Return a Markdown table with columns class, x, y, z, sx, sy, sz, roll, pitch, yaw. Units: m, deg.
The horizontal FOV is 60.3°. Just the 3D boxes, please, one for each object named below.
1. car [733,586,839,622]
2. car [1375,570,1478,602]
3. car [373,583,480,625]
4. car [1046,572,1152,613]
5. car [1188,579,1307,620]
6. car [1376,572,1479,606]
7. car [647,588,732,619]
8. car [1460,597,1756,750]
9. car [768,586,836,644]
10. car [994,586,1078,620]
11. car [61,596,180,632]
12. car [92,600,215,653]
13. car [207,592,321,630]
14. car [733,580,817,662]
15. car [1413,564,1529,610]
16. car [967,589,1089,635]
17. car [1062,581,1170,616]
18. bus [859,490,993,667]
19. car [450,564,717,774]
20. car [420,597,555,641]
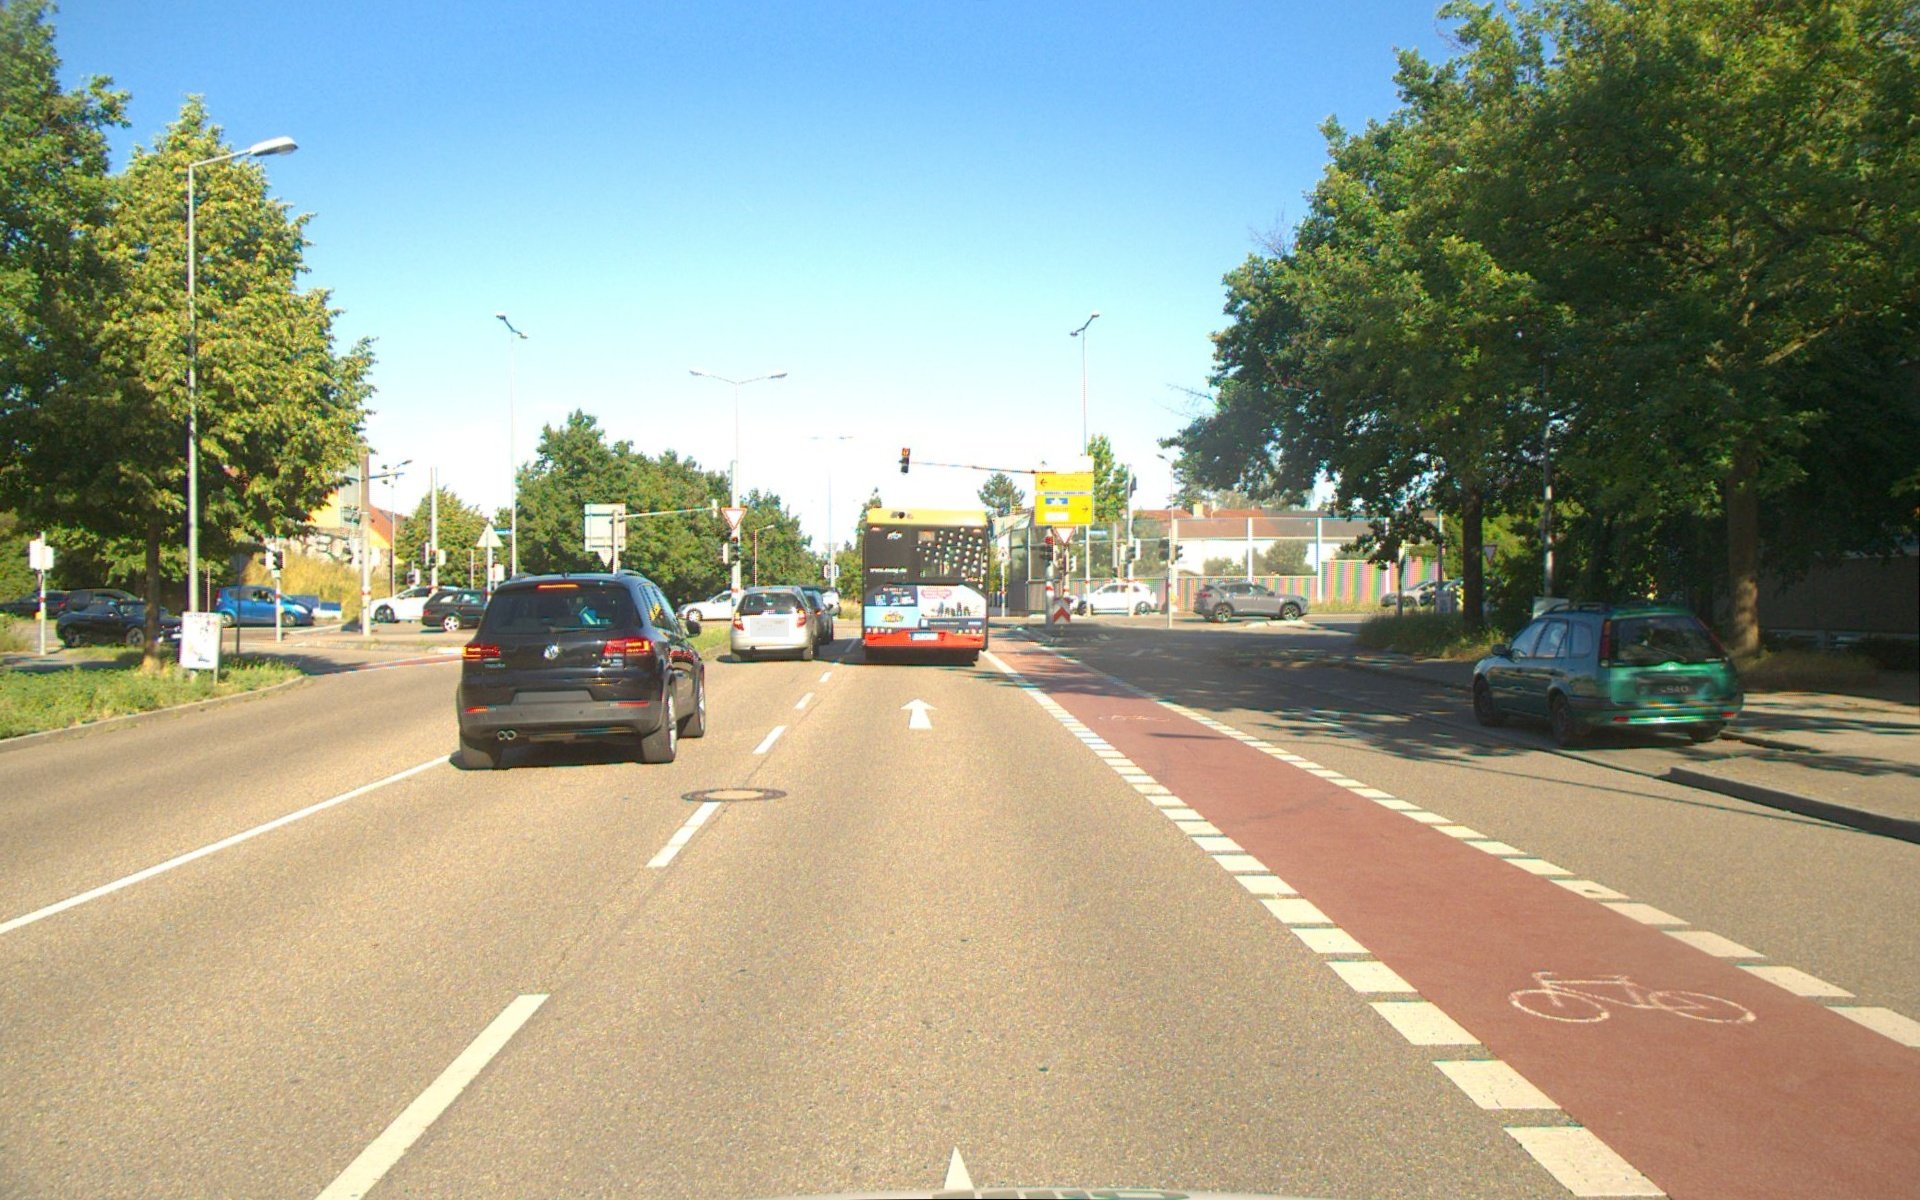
| class | x | y | z | sx | sy | sz | roll | pitch | yaw |
| --- | --- | --- | --- | --- | --- | --- | --- | --- | --- |
| car | -7.747 | 0.153 | 73.428 | 4.613 | 1.567 | 1.997 | 0 | 0 | -8 |
| car | 20.661 | -0.602 | 73.299 | 4.078 | 1.325 | 1.573 | 1 | -1 | -5 |
| car | -22.858 | 0.172 | 71.001 | 4.314 | 1.713 | 1.703 | 1 | -1 | -18 |
| car | 5.754 | -0.291 | 68.630 | 4.140 | 1.590 | 1.761 | 1 | -1 | -6 |
| car | 10.977 | -0.011 | 63.268 | 4.140 | 1.506 | 1.761 | 1 | -1 | -6 |
| car | 21.845 | -0.490 | 77.349 | 4.327 | 1.485 | 1.573 | 1 | -1 | -5 |
| car | -12.377 | 0.172 | 75.879 | 3.773 | 1.363 | 1.680 | 1 | -1 | -7 |
| car | 7.006 | 0.726 | 18.360 | 1.560 | 1.453 | 4.203 | -2 | 0 | -1 |
| car | -4.307 | 0.416 | 45.539 | 1.556 | 1.512 | 3.681 | 0 | 0 | -1 |
| car | 3.715 | 0.148 | 81.346 | 3.911 | 1.640 | 1.693 | 0 | 0 | -7 |
| car | -32.369 | 0.537 | 63.872 | 3.776 | 1.336 | 1.504 | 1 | -1 | -10 |
| car | -24.608 | 0.824 | 50.367 | 1.986 | 1.427 | 4.511 | -4 | 1 | -45 |
| car | -27.176 | 0.424 | 64.685 | 3.776 | 1.409 | 1.678 | 1 | -1 | -10 |
| car | -4.107 | 0.415 | 36.506 | 1.720 | 1.648 | 4.027 | 0 | 1 | -7 |
| car | 15.674 | -0.388 | 50.697 | 3.356 | 1.318 | 1.448 | 1 | -1 | -27 |
| car | 2.024 | 0.339 | 48.790 | 3.447 | 1.325 | 1.576 | 0 | 0 | 7 |
| car | 7.090 | -0.071 | 75.491 | 4.611 | 1.567 | 1.998 | 0 | 0 | -5 |
| bus | -0.810 | -0.449 | 37.984 | 2.544 | 3.393 | 11.980 | 1 | 0 | -1 |
| car | -3.380 | 0.588 | 15.575 | 1.785 | 1.703 | 4.000 | 0 | -1 | -3 |
| car | -16.876 | 0.657 | 59.229 | 4.376 | 1.466 | 1.680 | -1 | 1 | -7 |
